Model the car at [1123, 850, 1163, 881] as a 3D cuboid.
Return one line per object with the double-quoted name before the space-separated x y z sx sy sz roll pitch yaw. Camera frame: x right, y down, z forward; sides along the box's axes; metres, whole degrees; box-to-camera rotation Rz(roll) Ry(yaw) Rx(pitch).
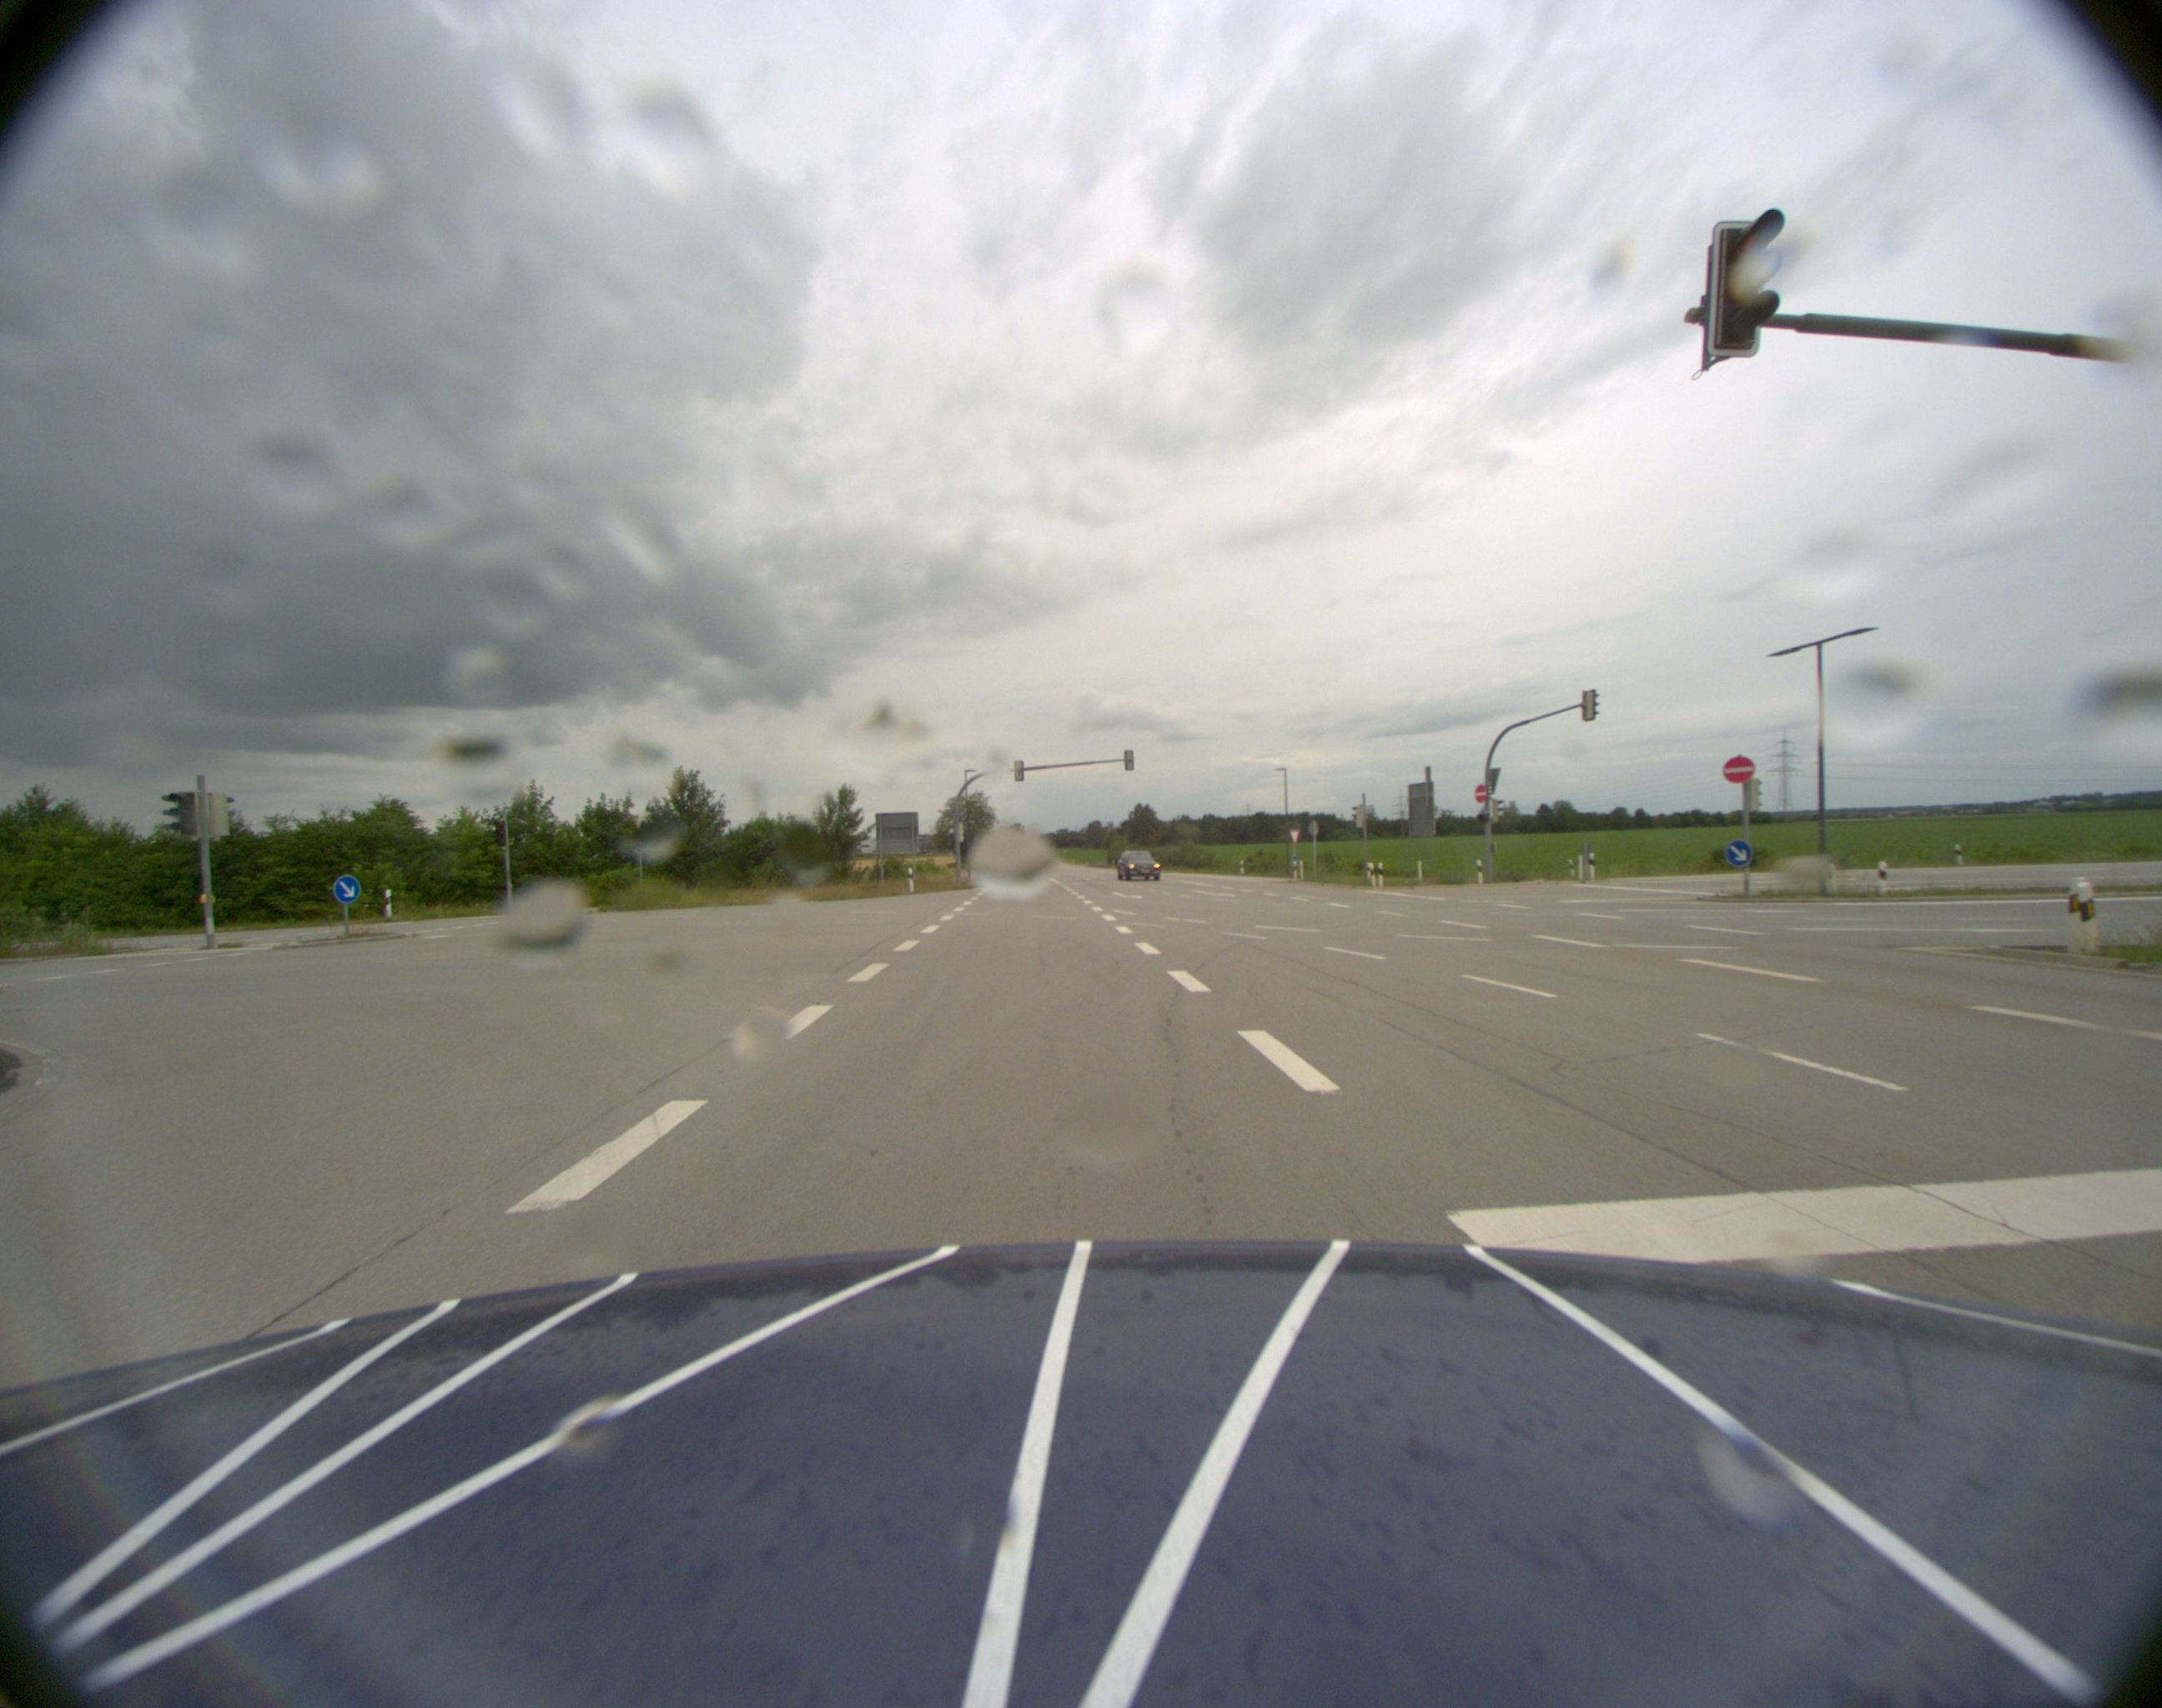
"car" 3.619 0.628 45.334 1.998 1.674 4.999 -1 0 1
